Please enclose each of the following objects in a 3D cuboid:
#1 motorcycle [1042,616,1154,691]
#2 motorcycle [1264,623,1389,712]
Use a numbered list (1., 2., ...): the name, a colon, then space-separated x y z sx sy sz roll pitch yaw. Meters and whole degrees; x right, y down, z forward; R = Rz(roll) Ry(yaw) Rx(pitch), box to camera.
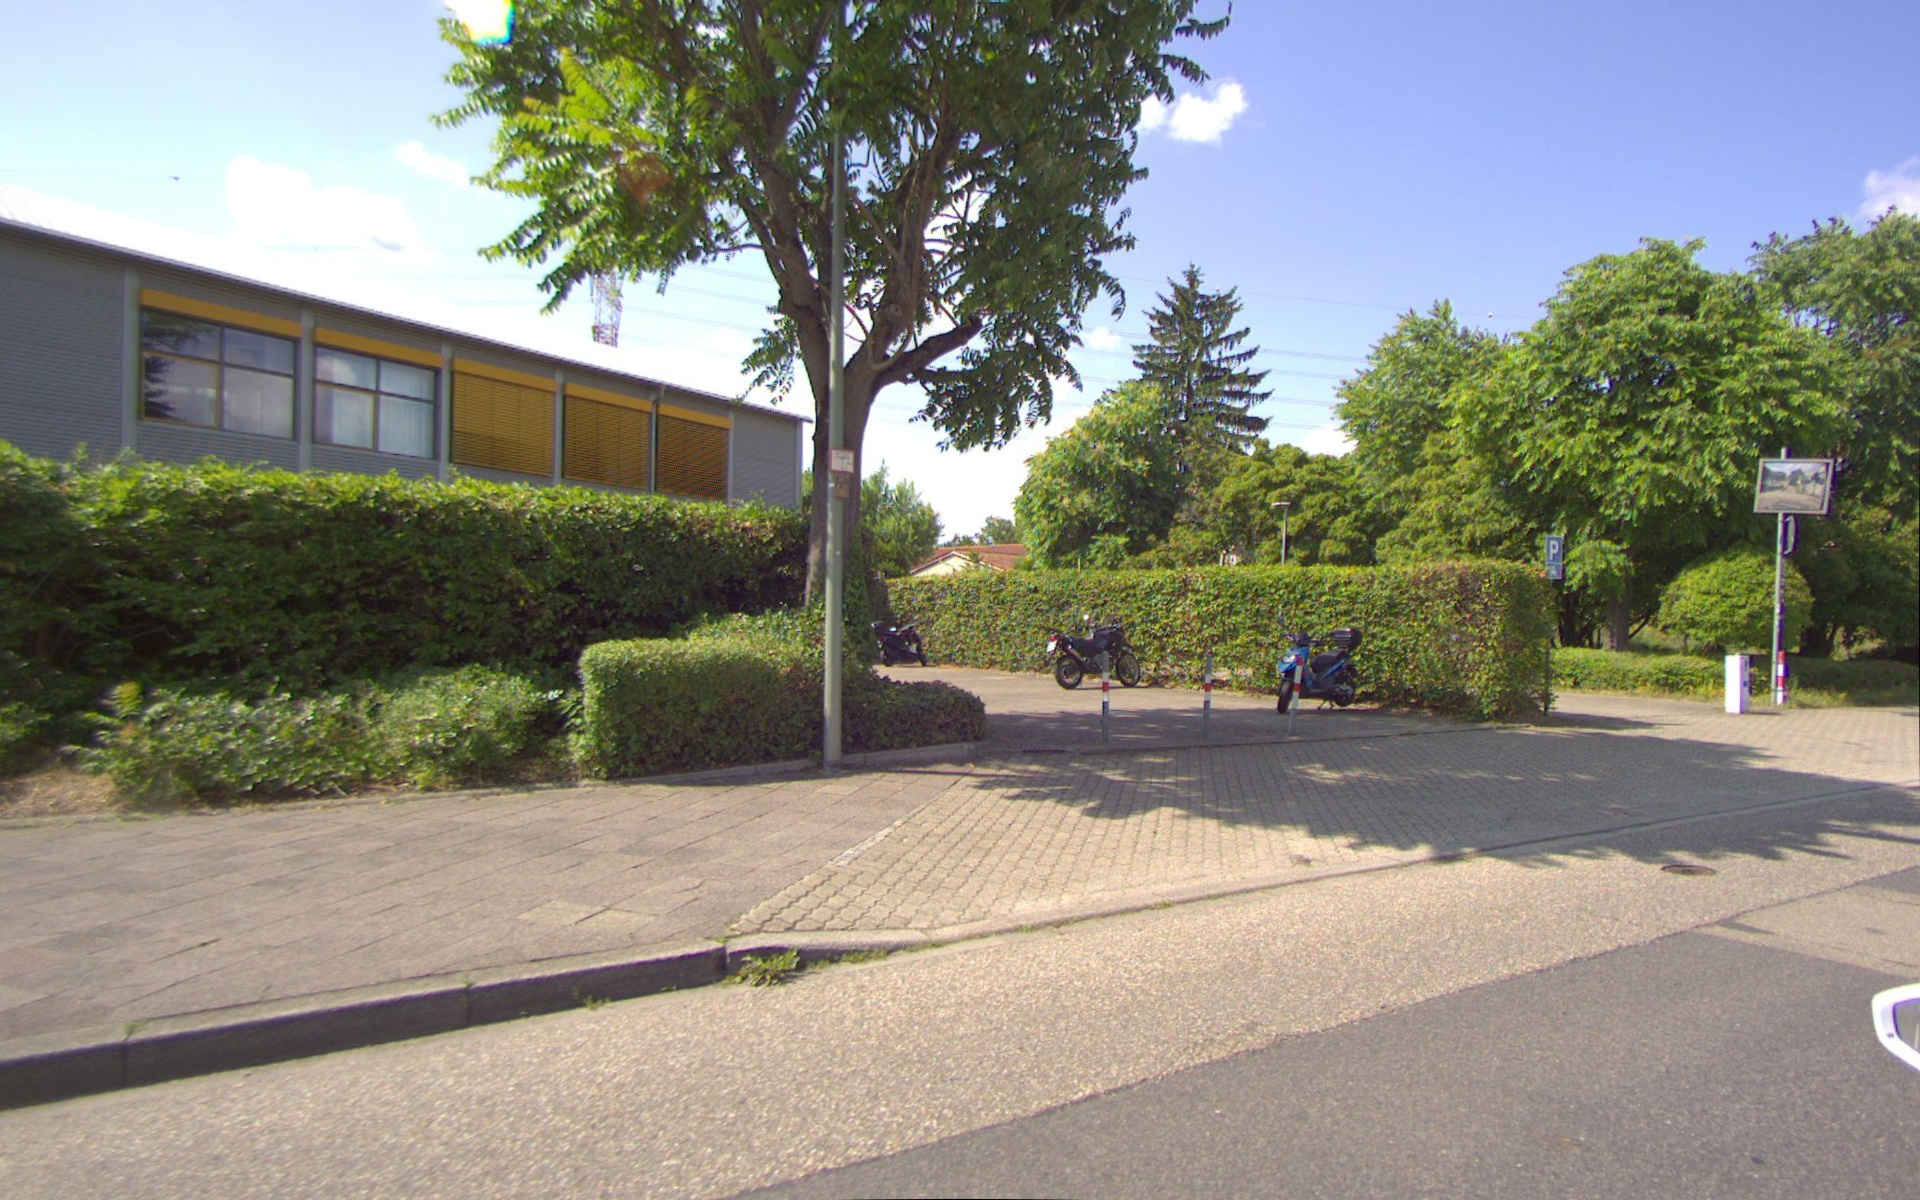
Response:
1. motorcycle: 2.664 1.013 19.201 2.270 1.368 0.530 2 -1 -30
2. motorcycle: 5.420 0.973 14.806 2.061 1.236 0.530 2 -1 -30
